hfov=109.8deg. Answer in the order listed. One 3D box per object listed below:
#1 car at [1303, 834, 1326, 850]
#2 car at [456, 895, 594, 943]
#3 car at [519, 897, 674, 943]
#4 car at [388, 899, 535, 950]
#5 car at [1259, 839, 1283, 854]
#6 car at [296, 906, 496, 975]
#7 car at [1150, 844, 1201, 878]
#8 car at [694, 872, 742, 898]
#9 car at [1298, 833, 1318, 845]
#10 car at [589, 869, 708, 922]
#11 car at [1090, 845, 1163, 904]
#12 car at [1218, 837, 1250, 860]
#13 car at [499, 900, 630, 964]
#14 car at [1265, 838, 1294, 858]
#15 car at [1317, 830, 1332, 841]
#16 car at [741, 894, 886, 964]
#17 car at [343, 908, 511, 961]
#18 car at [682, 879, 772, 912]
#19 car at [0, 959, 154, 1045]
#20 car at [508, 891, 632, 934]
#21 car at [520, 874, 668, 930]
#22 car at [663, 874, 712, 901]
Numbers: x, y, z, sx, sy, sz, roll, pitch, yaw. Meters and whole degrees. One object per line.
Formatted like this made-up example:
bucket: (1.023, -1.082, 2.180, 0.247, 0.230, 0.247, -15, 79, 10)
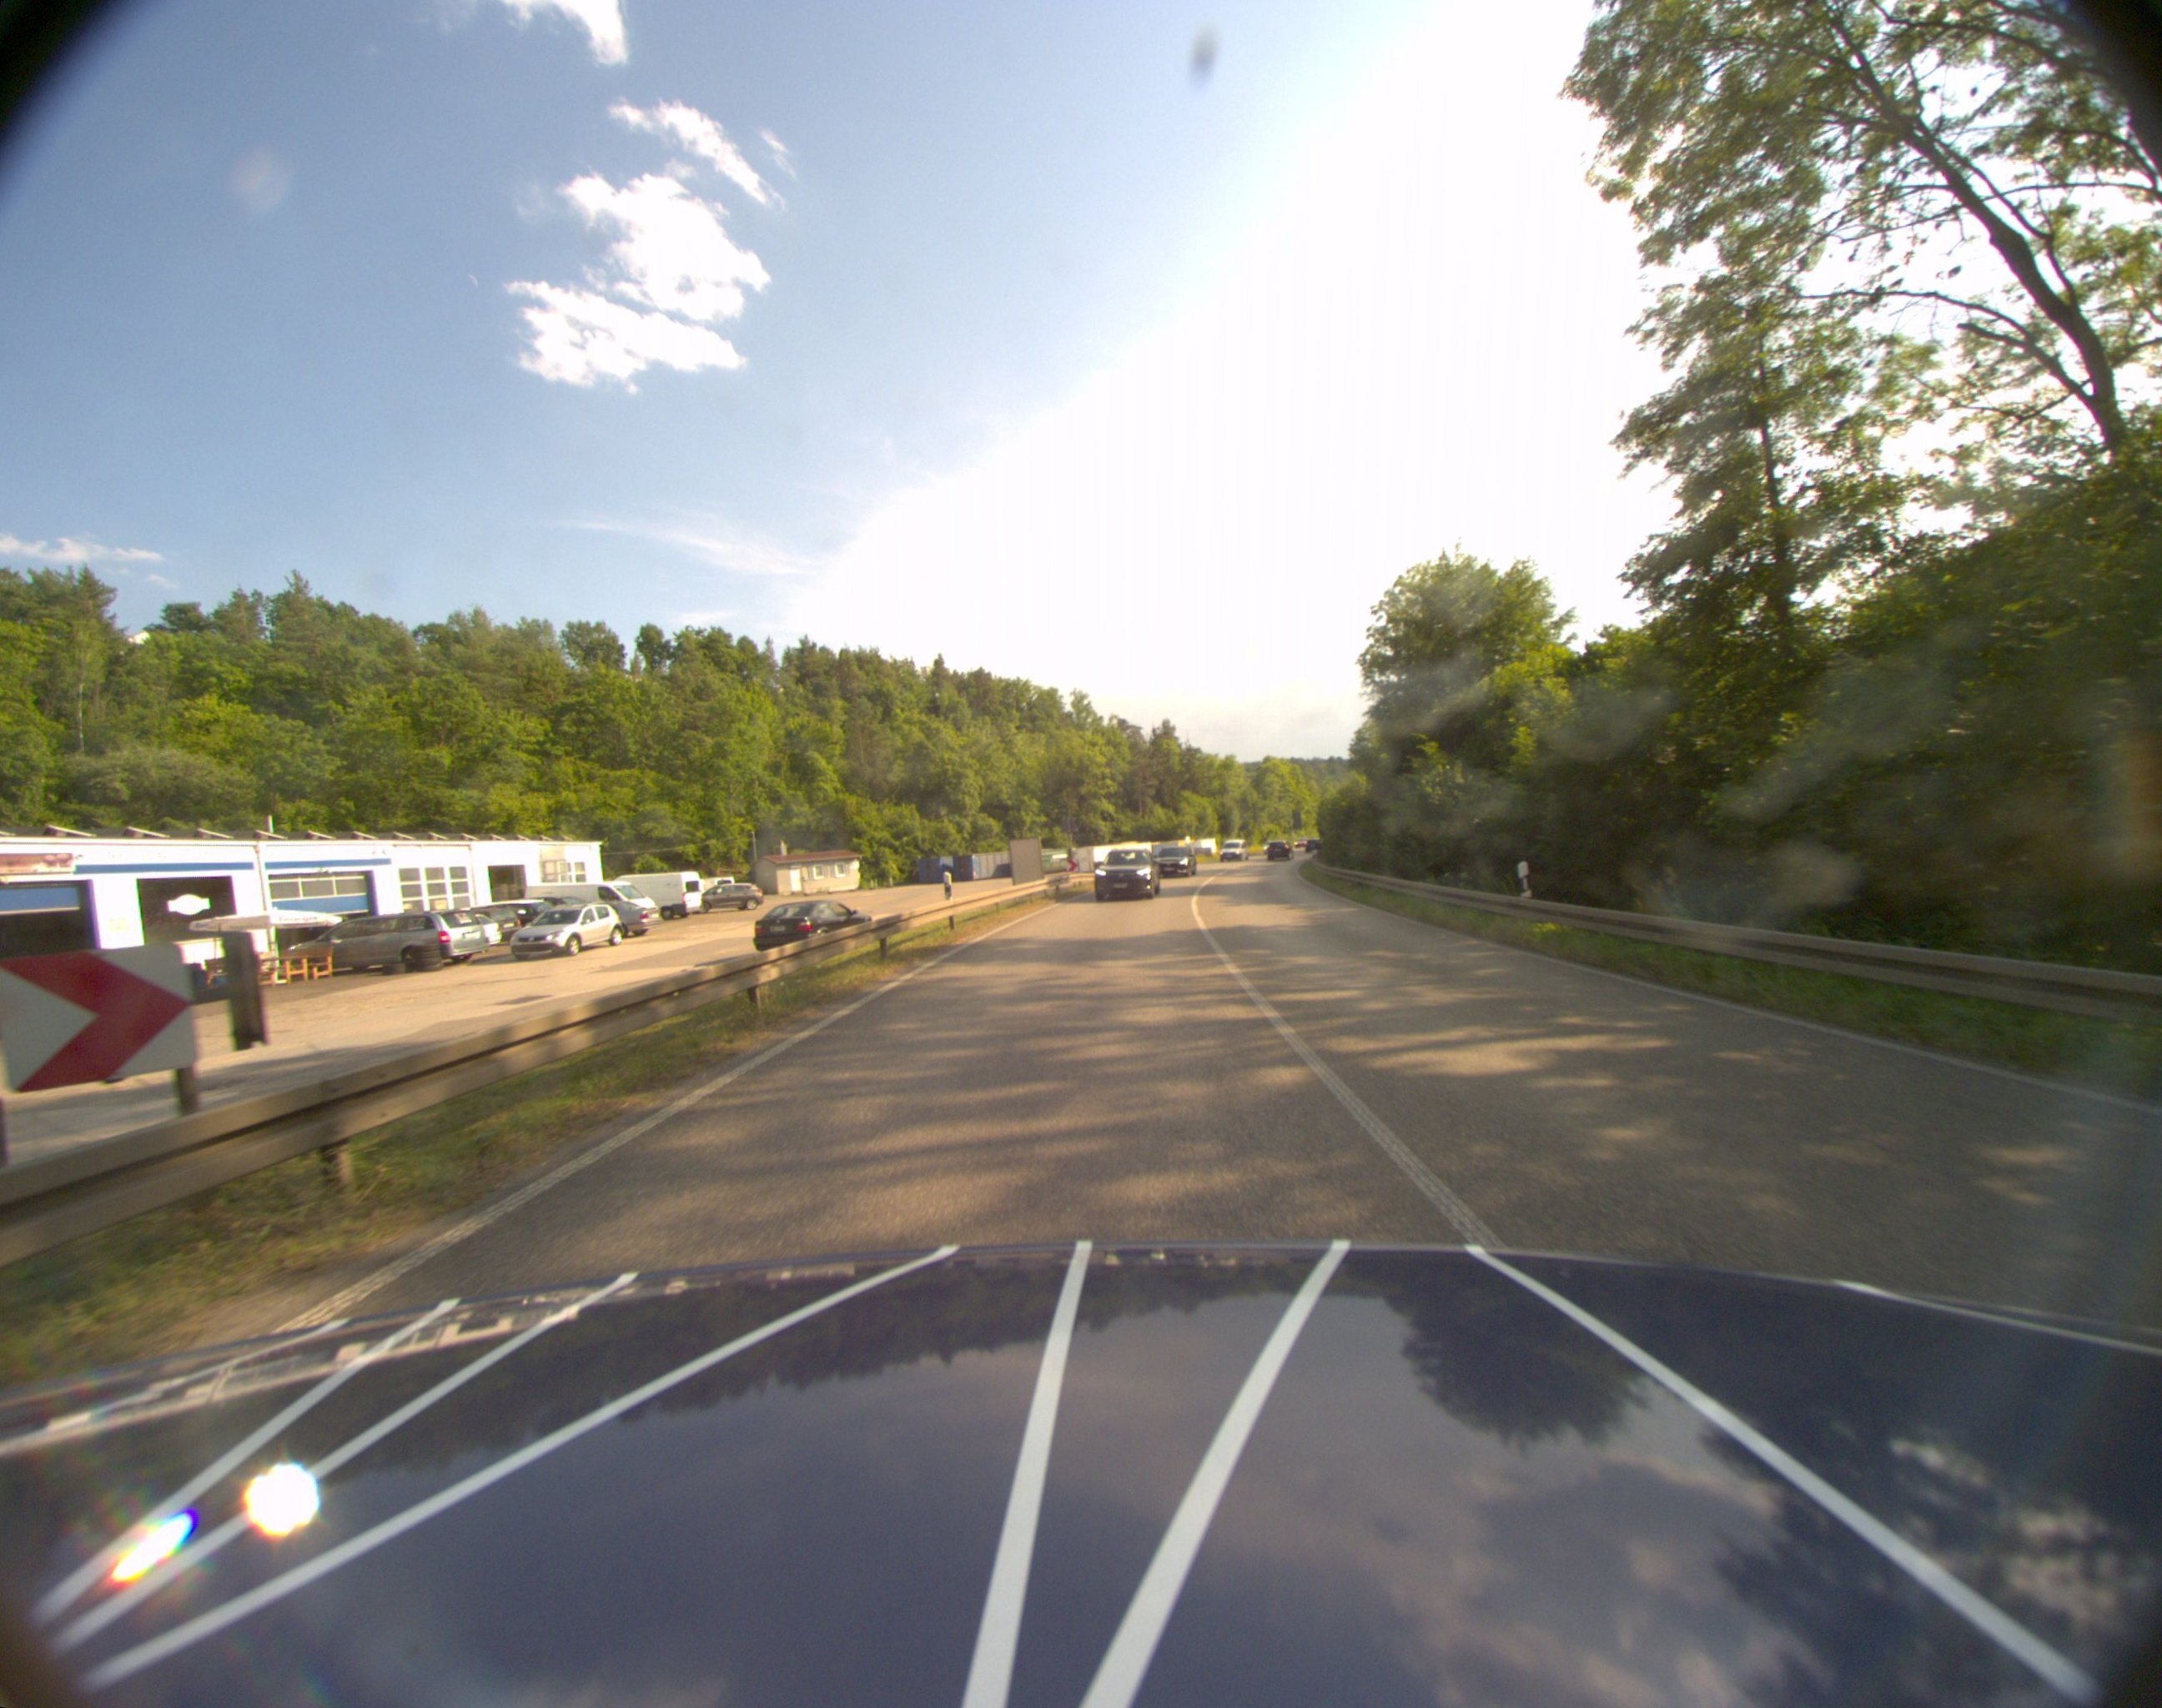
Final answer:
car: (24.971, -1.285, 81.209, 1.852, 1.499, 4.409, -1, 2, 24)
car: (-23.224, 2.687, 31.839, 4.251, 1.601, 1.894, -3, 1, -1)
car: (-19.011, 2.567, 29.973, 4.733, 1.425, 1.956, -2, 1, -3)
car: (-23.796, 2.684, 29.303, 3.997, 1.601, 1.894, -2, 1, -1)
car: (21.549, -0.904, 86.189, 1.894, 1.437, 4.482, -4, 0, 23)
car: (-21.085, 2.620, 23.548, 4.259, 1.719, 1.891, -2, 1, -4)
car: (5.032, 0.343, 40.078, 1.846, 1.561, 4.262, -2, 1, 18)
car: (-32.011, 2.771, 66.985, 4.548, 2.002, 2.003, -4, 1, 41)
car: (32.390, -2.149, 108.238, 1.856, 1.412, 4.425, -5, 1, 28)
car: (-22.900, 2.143, 40.421, 4.921, 2.435, 2.207, -3, 1, -3)
car: (1.604, 0.596, 25.223, 1.858, 1.631, 4.443, -3, 1, 9)
car: (13.061, -0.519, 64.800, 1.865, 1.710, 4.769, -4, 1, 20)
car: (-17.013, 2.505, 25.302, 1.795, 1.587, 3.987, -3, 1, -5)
car: (16.228, -0.520, 61.947, 1.869, 1.580, 4.253, -1, 1, 20)
car: (40.590, -3.097, 126.446, 1.913, 1.457, 4.543, -5, 1, 23)
car: (-7.079, 1.937, 20.612, 1.827, 1.345, 4.274, -4, 0, 9)
car: (-22.869, 2.802, 26.701, 4.156, 1.453, 1.870, -2, 1, -3)
car: (-20.905, 2.435, 44.966, 4.413, 1.660, 1.938, -2, -1, -42)
car: (-22.229, 3.068, 15.540, 4.078, 1.340, 1.894, -3, 1, -1)
car: (-22.988, 2.610, 34.311, 4.170, 1.601, 1.924, -2, 1, -1)
car: (-23.332, 2.269, 36.598, 5.488, 2.261, 2.295, -3, 1, -1)
car: (-33.704, 2.880, 65.024, 4.087, 2.002, 2.003, -4, 1, 38)
